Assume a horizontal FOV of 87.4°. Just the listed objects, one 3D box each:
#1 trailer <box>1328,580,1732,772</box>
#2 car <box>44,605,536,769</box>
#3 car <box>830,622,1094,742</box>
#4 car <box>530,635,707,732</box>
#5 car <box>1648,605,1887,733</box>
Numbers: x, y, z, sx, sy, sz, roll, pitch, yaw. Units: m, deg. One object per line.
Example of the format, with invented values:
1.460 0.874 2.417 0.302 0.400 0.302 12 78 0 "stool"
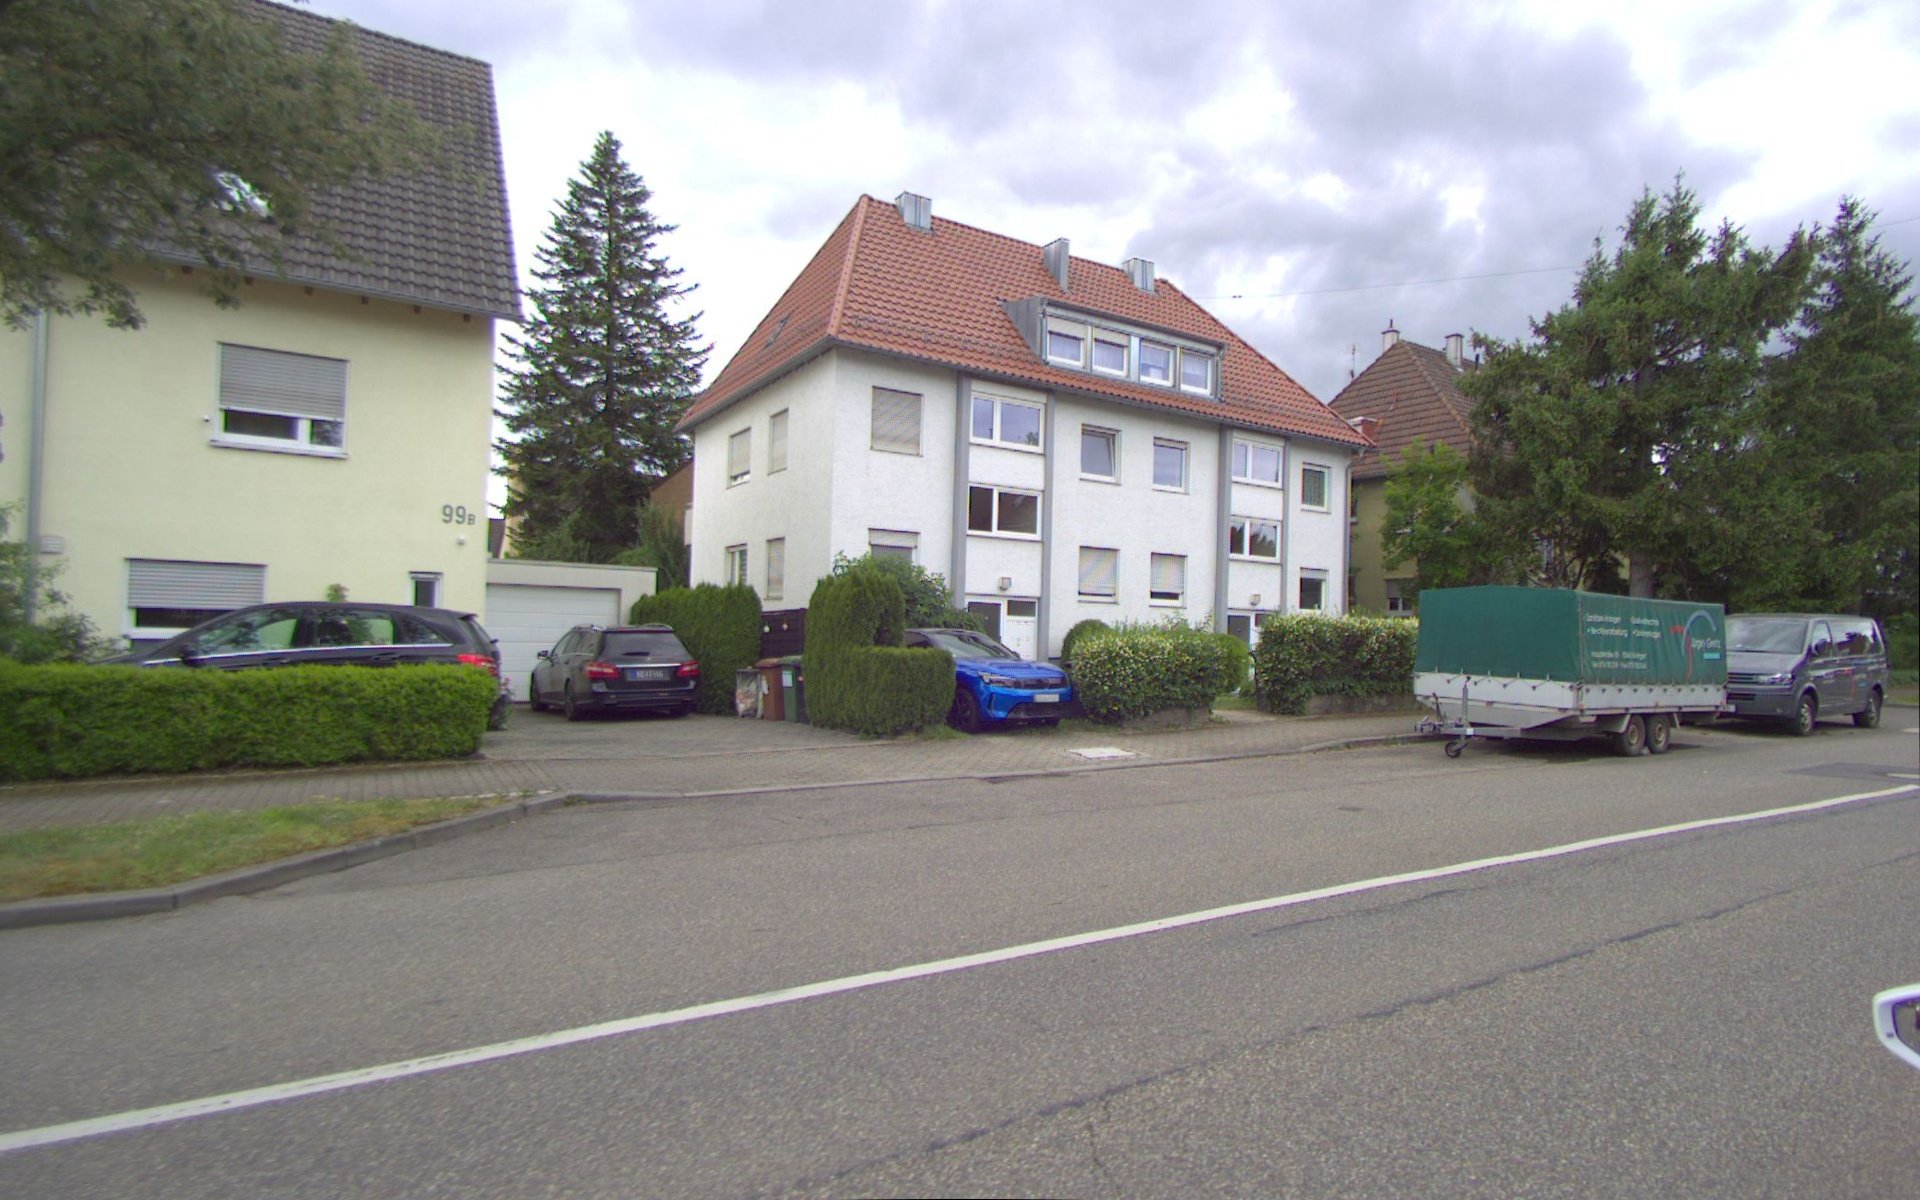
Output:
7.854 0.946 13.625 5.809 2.114 2.299 3 -1 -33 "trailer"
-6.716 0.901 10.611 3.950 1.435 1.870 2 -5 -28 "car"
-0.108 1.079 14.324 1.565 1.355 3.953 4 -2 -40 "car"
-5.632 1.245 16.279 1.825 1.358 3.965 1 -2 -33 "car"
14.099 1.151 17.478 4.512 1.947 1.877 3 -1 -33 "car"
